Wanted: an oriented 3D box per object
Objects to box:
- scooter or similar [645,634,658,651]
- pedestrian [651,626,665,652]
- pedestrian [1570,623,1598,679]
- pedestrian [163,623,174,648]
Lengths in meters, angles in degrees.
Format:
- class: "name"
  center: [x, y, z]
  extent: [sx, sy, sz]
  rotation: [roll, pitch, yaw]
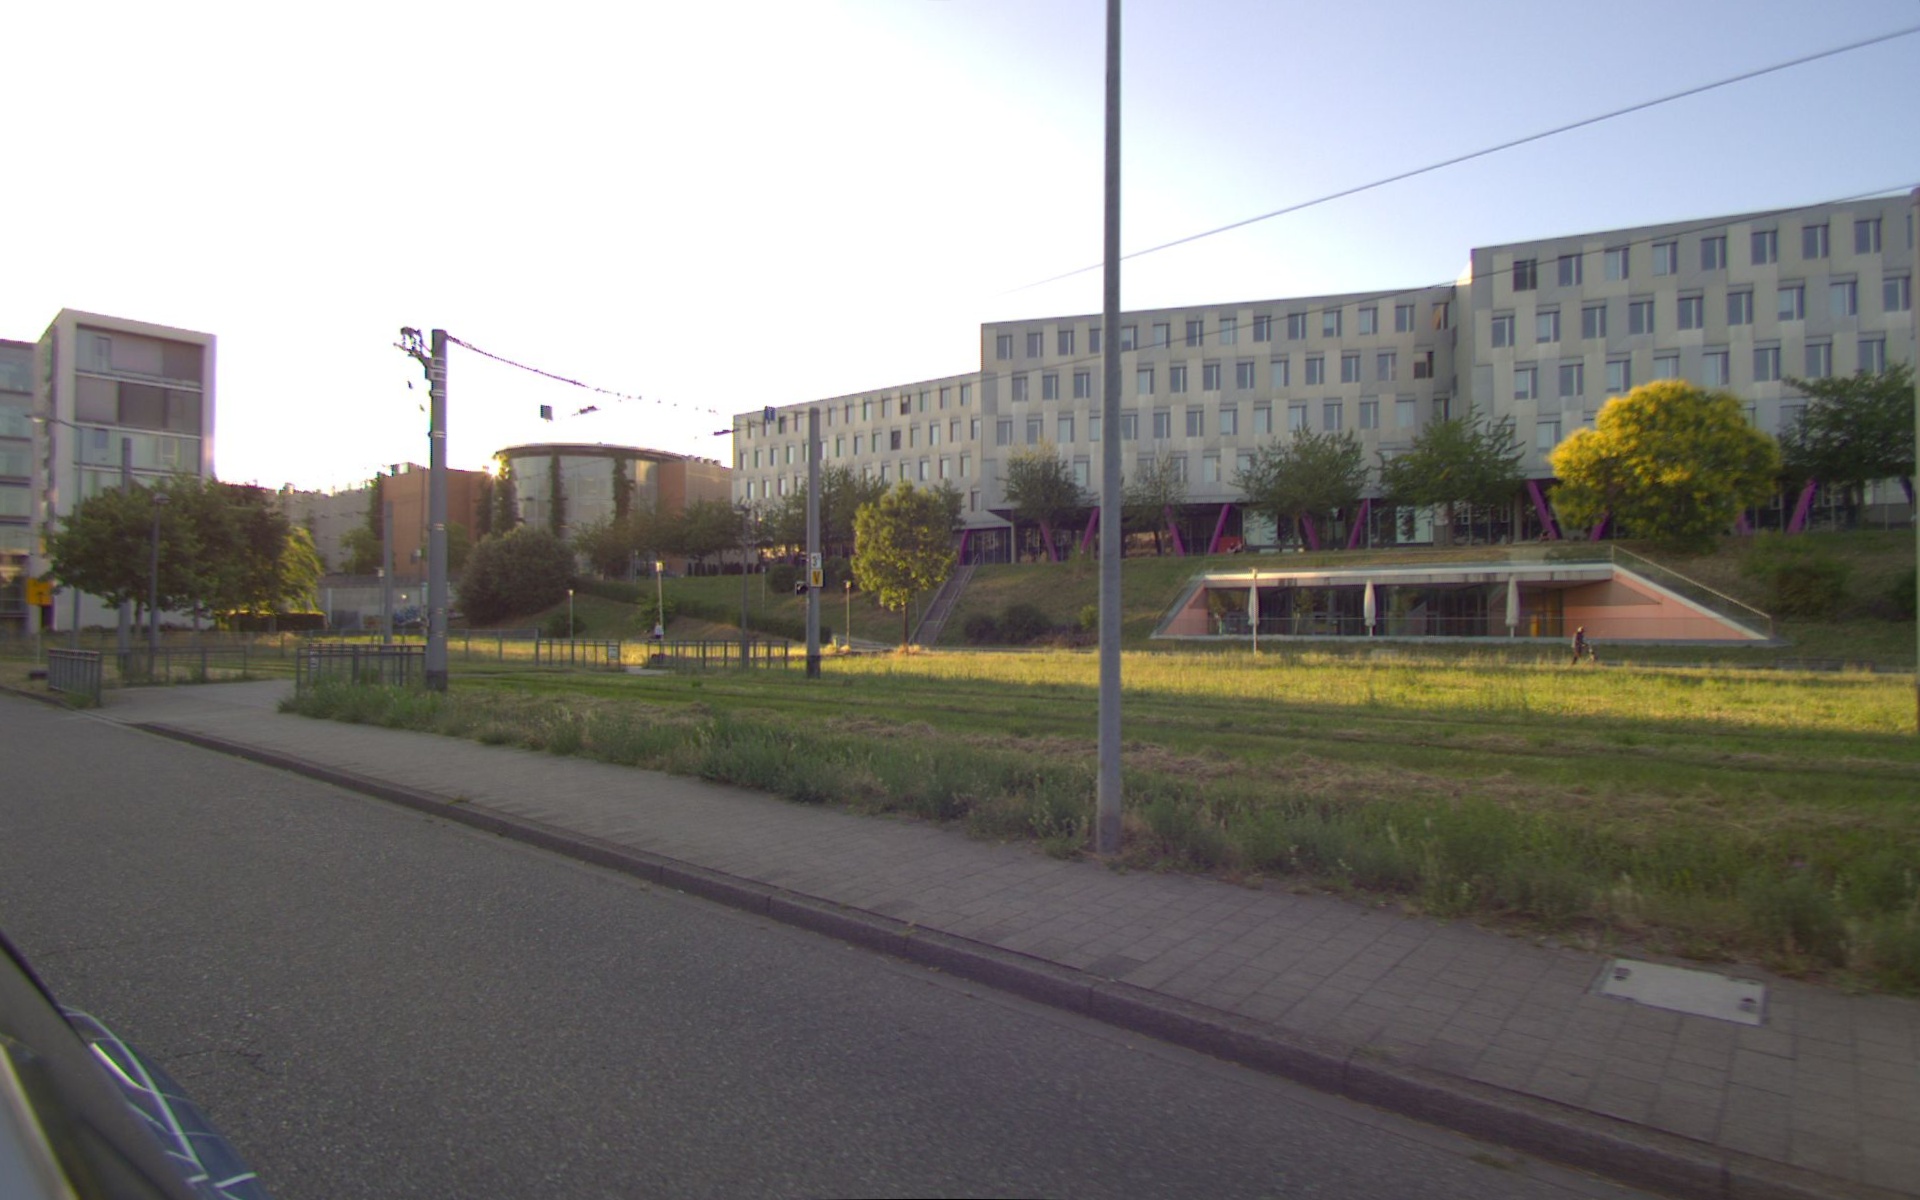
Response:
- class: "scooter or similar"
  center: [-23.135, 3.191, 75.839]
  extent: [0.790, 1.253, 0.610]
  rotation: [-2, 0, 40]
- class: "pedestrian"
  center: [-22.467, 2.907, 75.294]
  extent: [0.790, 1.850, 0.610]
  rotation: [-2, 0, 40]
- class: "pedestrian"
  center: [24.094, 1.966, 39.092]
  extent: [0.790, 2.098, 0.610]
  rotation: [-2, 0, 40]
- class: "pedestrian"
  center: [-59.096, 2.618, 75.530]
  extent: [0.480, 1.850, 0.446]
  rotation: [-2, 0, 20]
